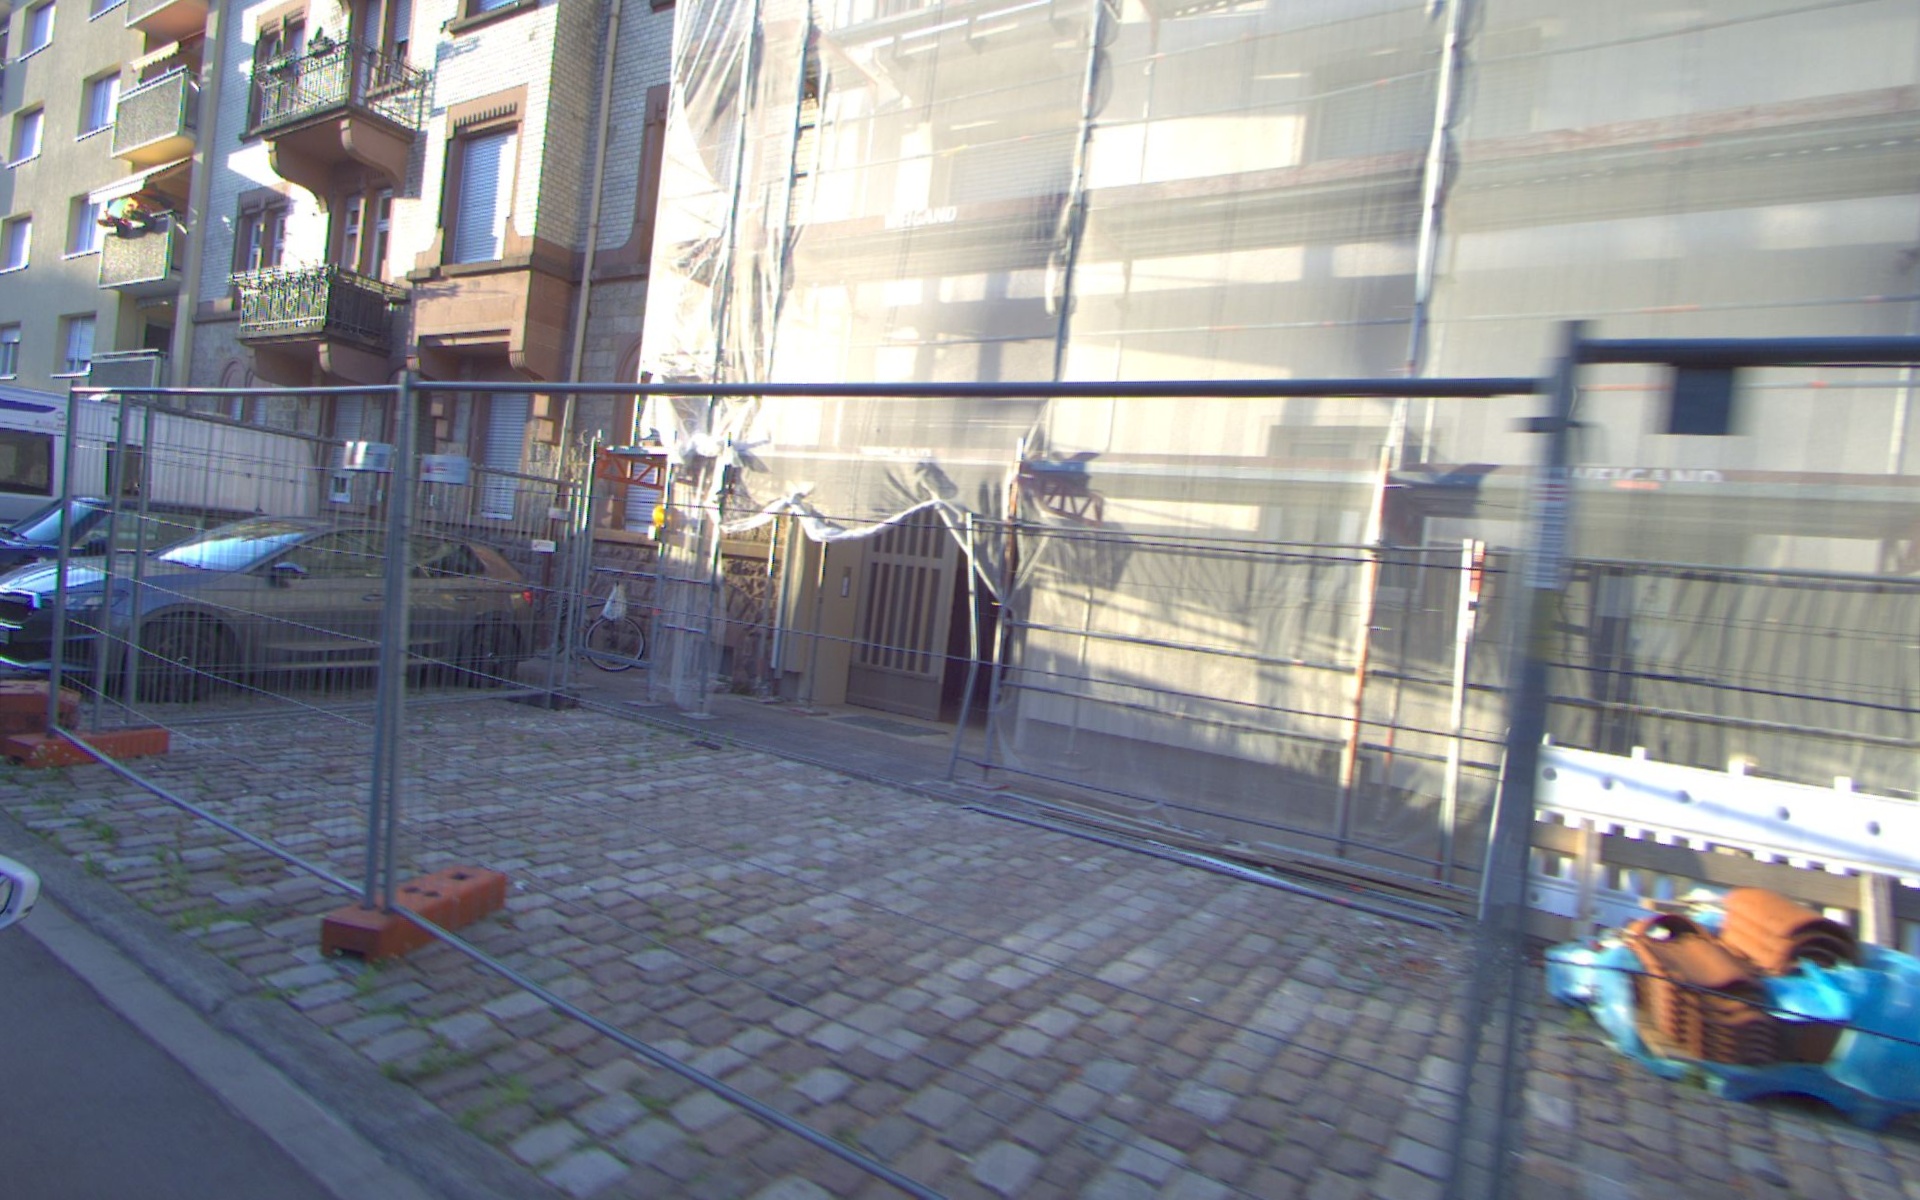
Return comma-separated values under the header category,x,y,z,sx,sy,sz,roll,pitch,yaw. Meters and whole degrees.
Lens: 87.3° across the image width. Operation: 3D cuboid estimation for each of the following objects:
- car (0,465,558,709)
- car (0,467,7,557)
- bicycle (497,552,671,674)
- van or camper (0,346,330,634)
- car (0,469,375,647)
category,x,y,z,sx,sy,sz,roll,pitch,yaw
car,-5.840,-0.129,8.688,1.984,1.536,3.990,7,2,28
car,-17.446,-1.583,15.230,1.804,1.473,3.990,7,2,28
bicycle,-4.500,0.140,11.997,1.999,1.183,0.632,8,0,27
van or camper,-10.805,-1.314,11.166,2.074,2.802,5.939,7,-1,31
car,-8.266,-0.386,9.890,1.758,1.505,3.934,6,1,34
